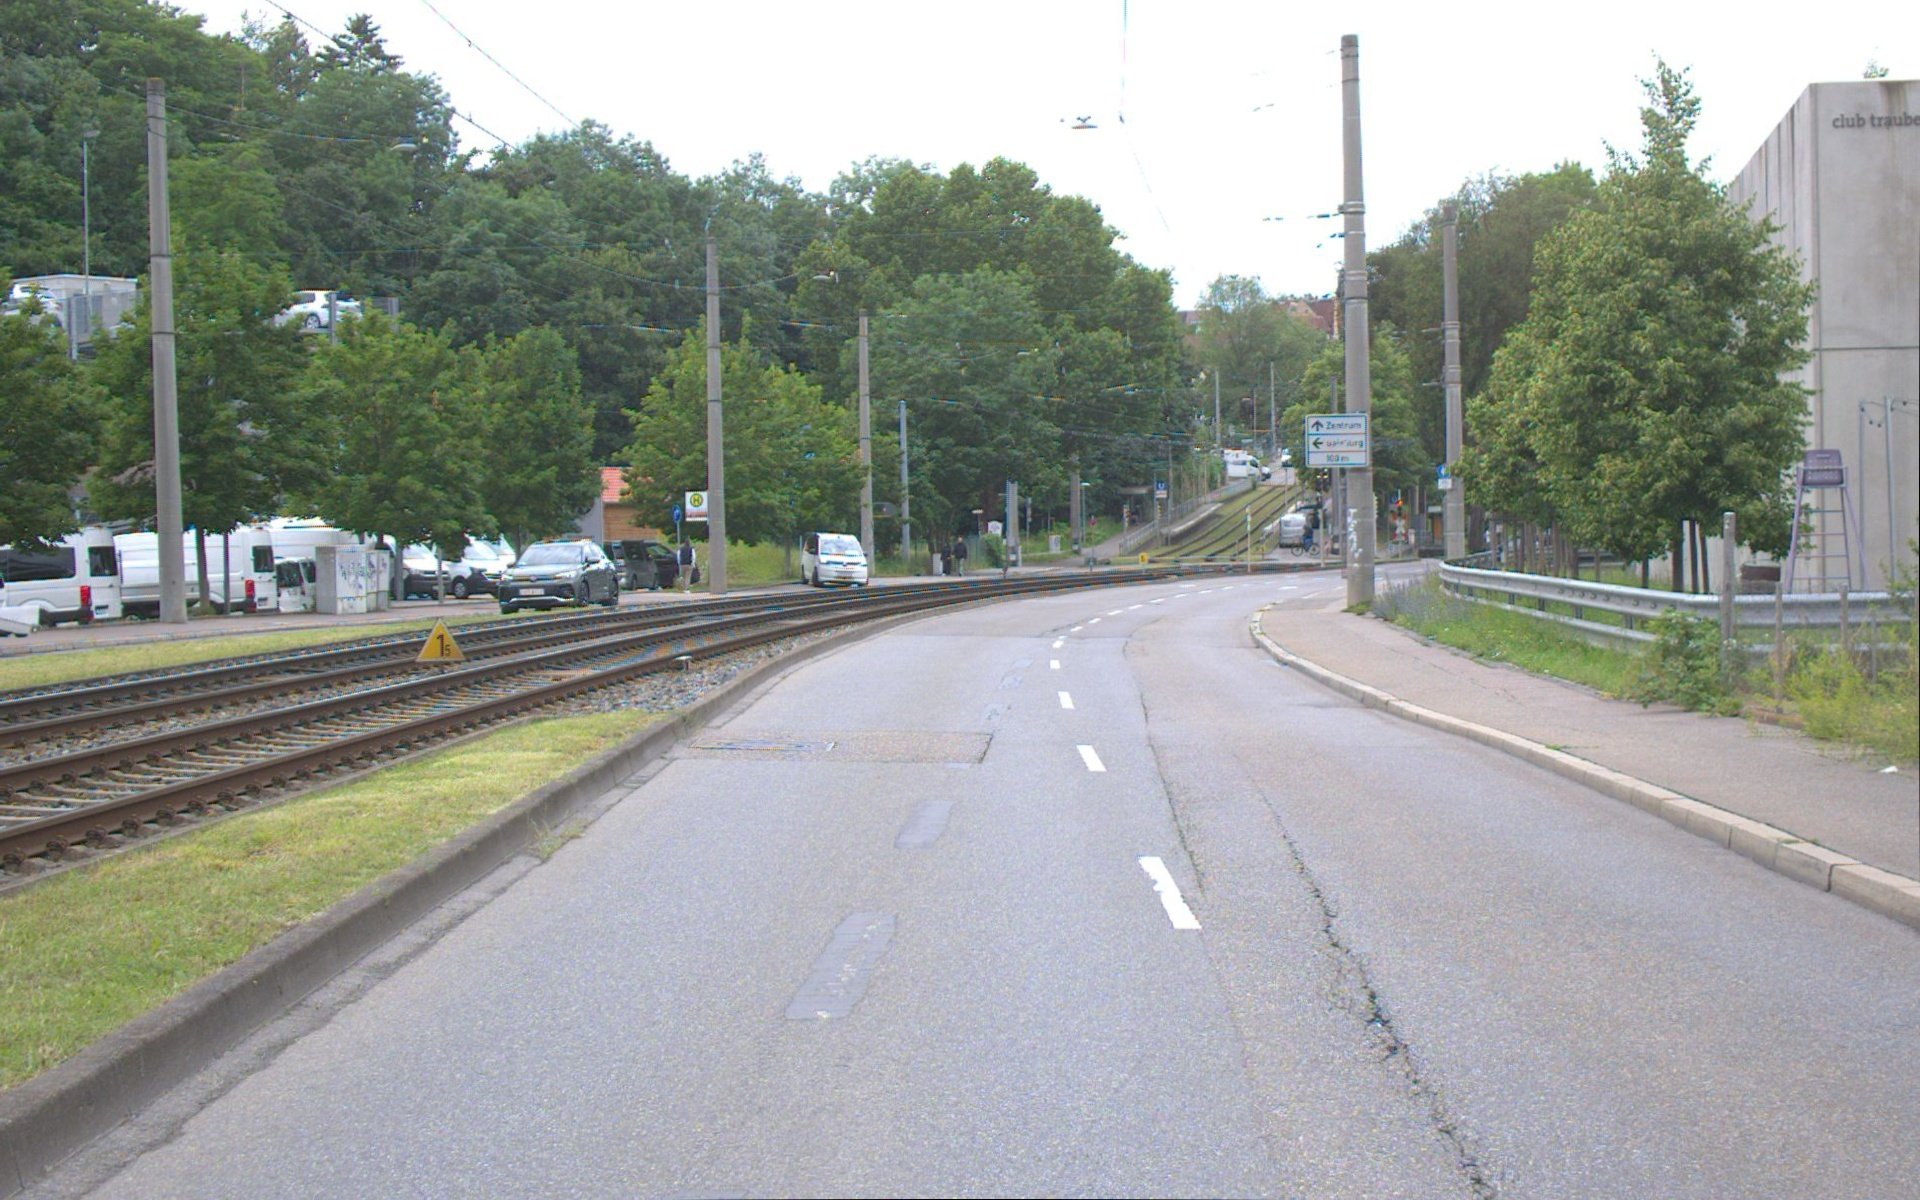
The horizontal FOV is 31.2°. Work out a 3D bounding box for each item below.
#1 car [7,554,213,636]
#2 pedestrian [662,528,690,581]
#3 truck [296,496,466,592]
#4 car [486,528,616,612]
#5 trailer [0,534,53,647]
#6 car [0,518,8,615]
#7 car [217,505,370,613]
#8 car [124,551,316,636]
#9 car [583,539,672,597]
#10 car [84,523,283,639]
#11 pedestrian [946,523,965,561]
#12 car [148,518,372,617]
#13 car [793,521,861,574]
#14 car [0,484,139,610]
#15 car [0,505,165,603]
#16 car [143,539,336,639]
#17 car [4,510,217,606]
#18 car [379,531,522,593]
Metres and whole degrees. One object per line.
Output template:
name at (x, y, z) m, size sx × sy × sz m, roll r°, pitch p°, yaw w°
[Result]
car at (-20.494, -0.138, 82.993) m, size 4.366 × 1.904 × 2.004 m, roll 0°, pitch 1°, yaw 7°
pedestrian at (-9.055, -1.458, 109.802) m, size 0.718 × 1.650 × 1.042 m, roll 2°, pitch 2°, yaw 3°
truck at (-19.062, -1.818, 113.084) m, size 5.933 × 3.074 × 2.115 m, roll 0°, pitch 1°, yaw 40°
car at (-9.068, -0.654, 76.538) m, size 1.994 × 1.733 × 4.533 m, roll -3°, pitch 0°, yaw 4°
trailer at (-15.742, -0.064, 49.985) m, size 2.383 × 1.692 × 6.946 m, roll -2°, pitch 1°, yaw 8°
car at (-22.175, -0.670, 71.081) m, size 4.366 × 2.003 × 2.004 m, roll 0°, pitch 1°, yaw 7°
car at (-19.104, -1.198, 98.907) m, size 2.109 × 3.009 × 5.934 m, roll -1°, pitch 1°, yaw 12°
car at (-18.833, -0.168, 87.595) m, size 4.366 × 2.098 × 2.004 m, roll 0°, pitch 1°, yaw 7°
car at (-12.051, -1.178, 124.809) m, size 1.994 × 2.007 × 5.128 m, roll -1°, pitch 1°, yaw 9°
car at (-19.240, -0.471, 85.272) m, size 4.366 × 2.809 × 2.004 m, roll 0°, pitch 1°, yaw 7°
pedestrian at (-0.197, -2.614, 154.656) m, size 0.628 × 1.707 × 0.855 m, roll 1°, pitch 1°, yaw 13°
car at (-18.945, -0.880, 93.129) m, size 5.475 × 2.593 × 2.246 m, roll 0°, pitch 1°, yaw 11°
car at (-4.993, -1.973, 128.665) m, size 2.159 × 1.881 × 5.074 m, roll 1°, pitch 1°, yaw -6°
car at (-20.706, -1.155, 75.073) m, size 4.967 × 2.689 × 2.115 m, roll 0°, pitch 1°, yaw 7°
car at (-20.454, -1.039, 77.790) m, size 4.366 × 2.165 × 2.004 m, roll 0°, pitch 1°, yaw 7°
car at (-18.898, -0.301, 90.227) m, size 4.367 × 2.098 × 2.004 m, roll 7°, pitch 2°, yaw 7°
car at (-19.773, -0.987, 80.120) m, size 4.366 × 2.165 × 2.004 m, roll 0°, pitch 1°, yaw 7°
car at (-17.057, -1.253, 115.005) m, size 4.725 × 2.007 × 1.996 m, roll 0°, pitch 1°, yaw 38°
